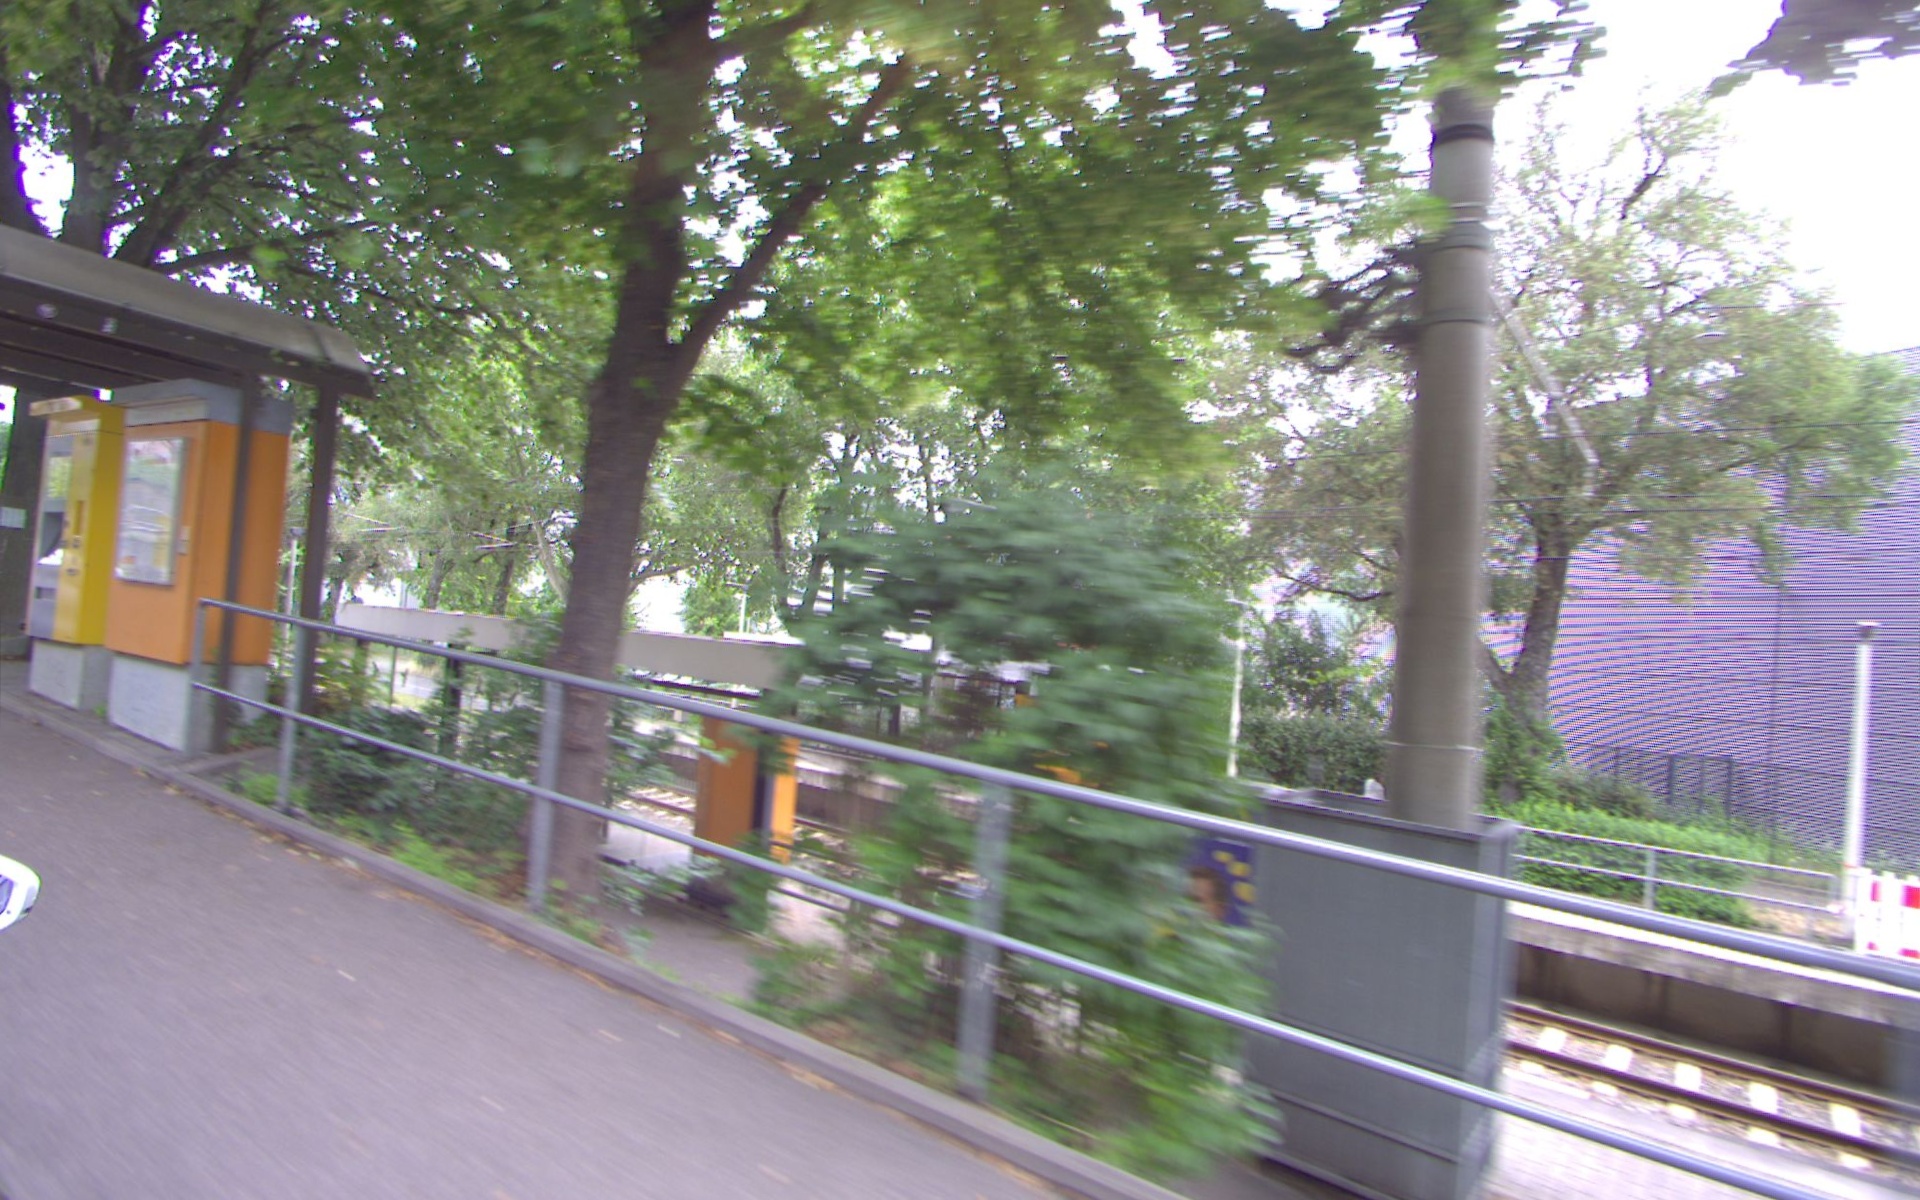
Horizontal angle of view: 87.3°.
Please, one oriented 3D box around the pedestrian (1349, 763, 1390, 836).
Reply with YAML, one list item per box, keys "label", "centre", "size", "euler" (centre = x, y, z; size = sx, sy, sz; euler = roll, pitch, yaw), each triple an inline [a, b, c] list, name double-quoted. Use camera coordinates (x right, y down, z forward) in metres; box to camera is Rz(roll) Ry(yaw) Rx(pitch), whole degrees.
- label: "pedestrian"
  centre: [10.320, 5.017, 25.354]
  size: [0.687, 1.716, 0.531]
  euler: [8, -1, -42]
